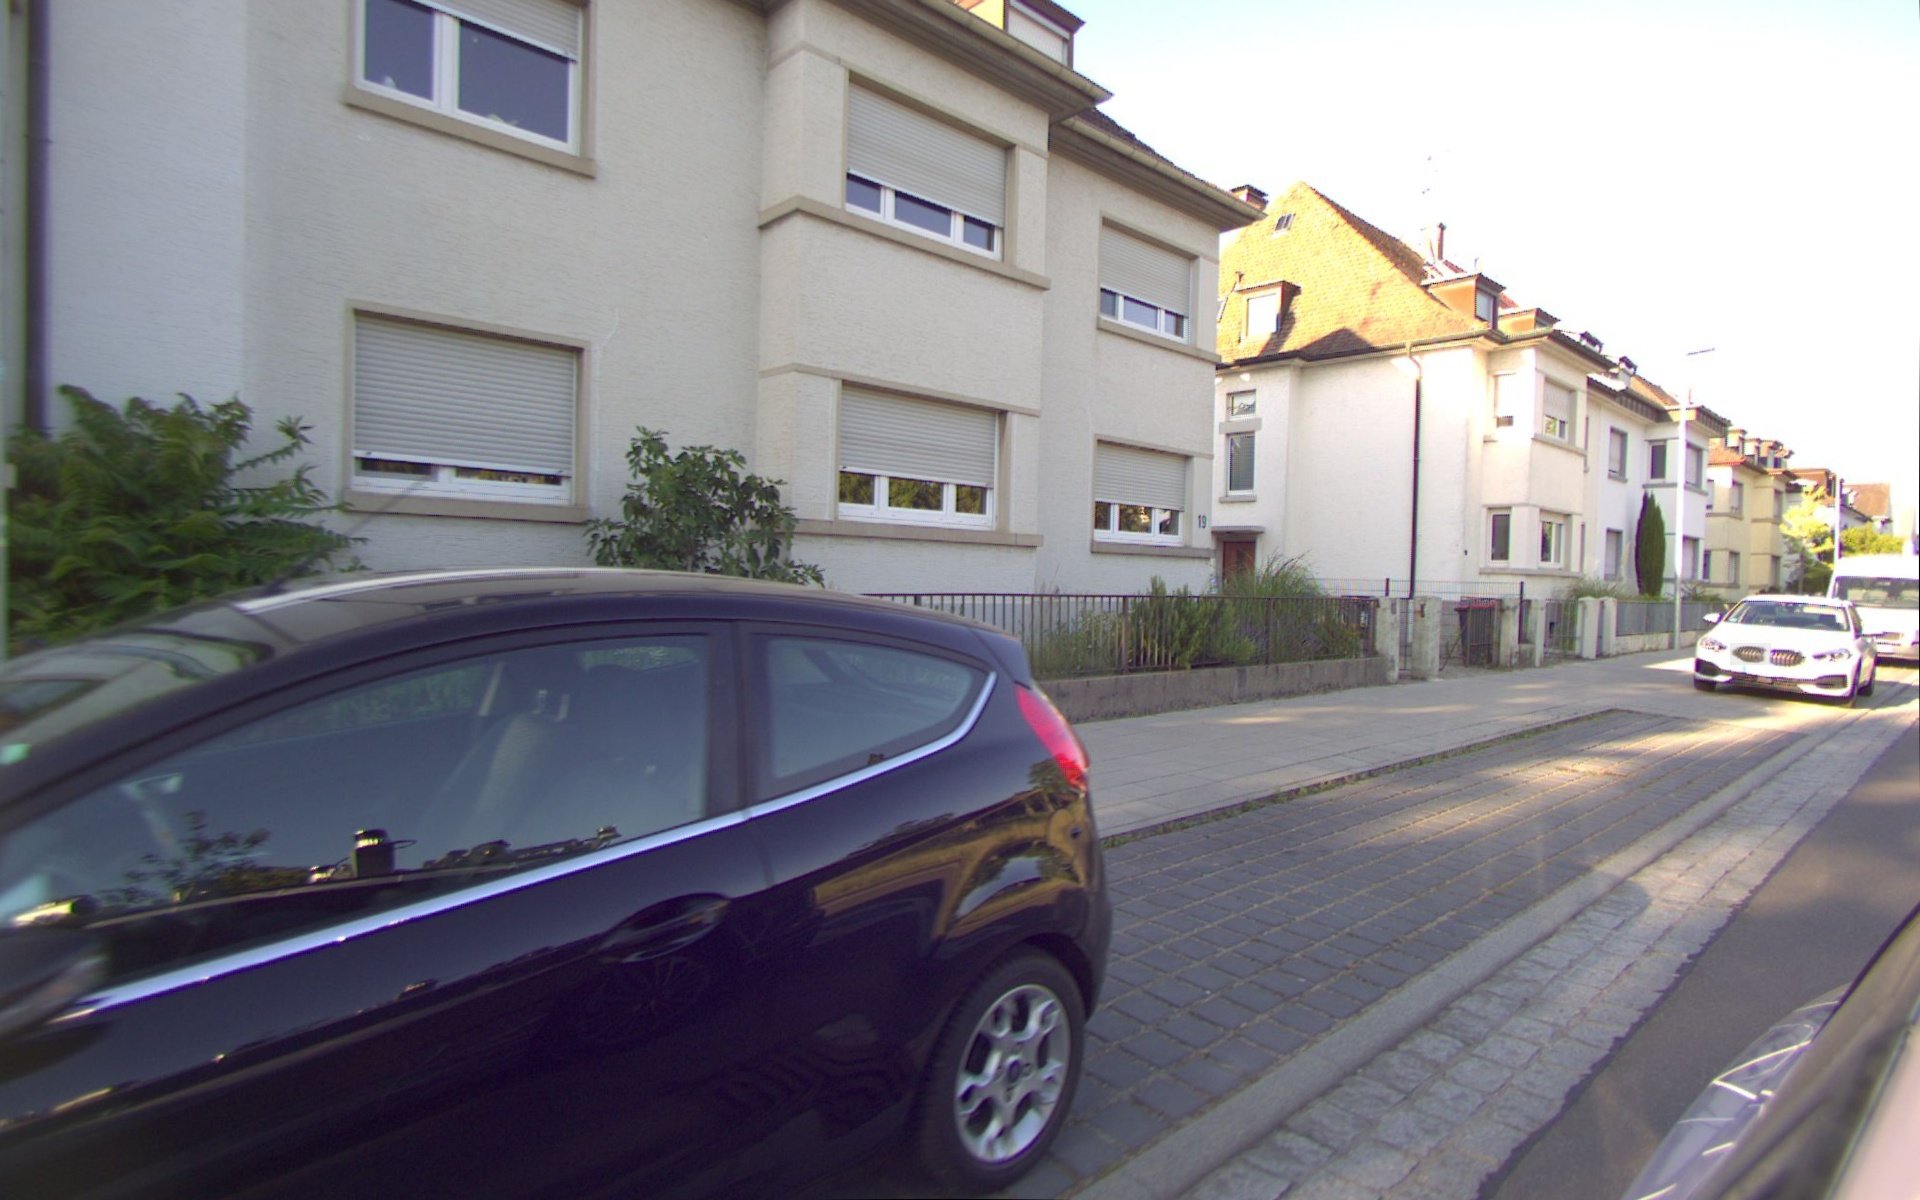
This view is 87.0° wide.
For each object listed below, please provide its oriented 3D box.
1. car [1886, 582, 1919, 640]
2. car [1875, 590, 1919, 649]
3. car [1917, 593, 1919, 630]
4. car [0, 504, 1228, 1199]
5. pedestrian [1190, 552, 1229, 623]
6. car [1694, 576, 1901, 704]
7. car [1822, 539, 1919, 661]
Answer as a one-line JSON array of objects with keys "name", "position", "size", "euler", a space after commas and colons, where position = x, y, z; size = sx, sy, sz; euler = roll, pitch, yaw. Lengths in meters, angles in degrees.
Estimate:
[{"name": "car", "position": [29.759, 0.356, 30.935], "size": [4.405, 1.665, 1.780], "euler": [0, 3, -43]}, {"name": "car", "position": [26.150, 0.508, 27.381], "size": [4.037, 1.501, 1.624], "euler": [0, 1, -42]}, {"name": "car", "position": [39.363, 0.445, 40.181], "size": [3.935, 1.457, 1.628], "euler": [-1, 1, -42]}, {"name": "car", "position": [-1.286, 0.582, 2.106], "size": [3.917, 1.489, 1.721], "euler": [0, 4, -44]}, {"name": "pedestrian", "position": [6.433, -0.329, 26.131], "size": [0.702, 1.782, 0.695], "euler": [0, 1, -43]}, {"name": "car", "position": [12.399, 0.481, 14.888], "size": [4.163, 1.525, 1.785], "euler": [0, 4, -44]}, {"name": "car", "position": [21.652, -0.031, 23.361], "size": [5.418, 2.549, 2.131], "euler": [0, 3, -45]}]
